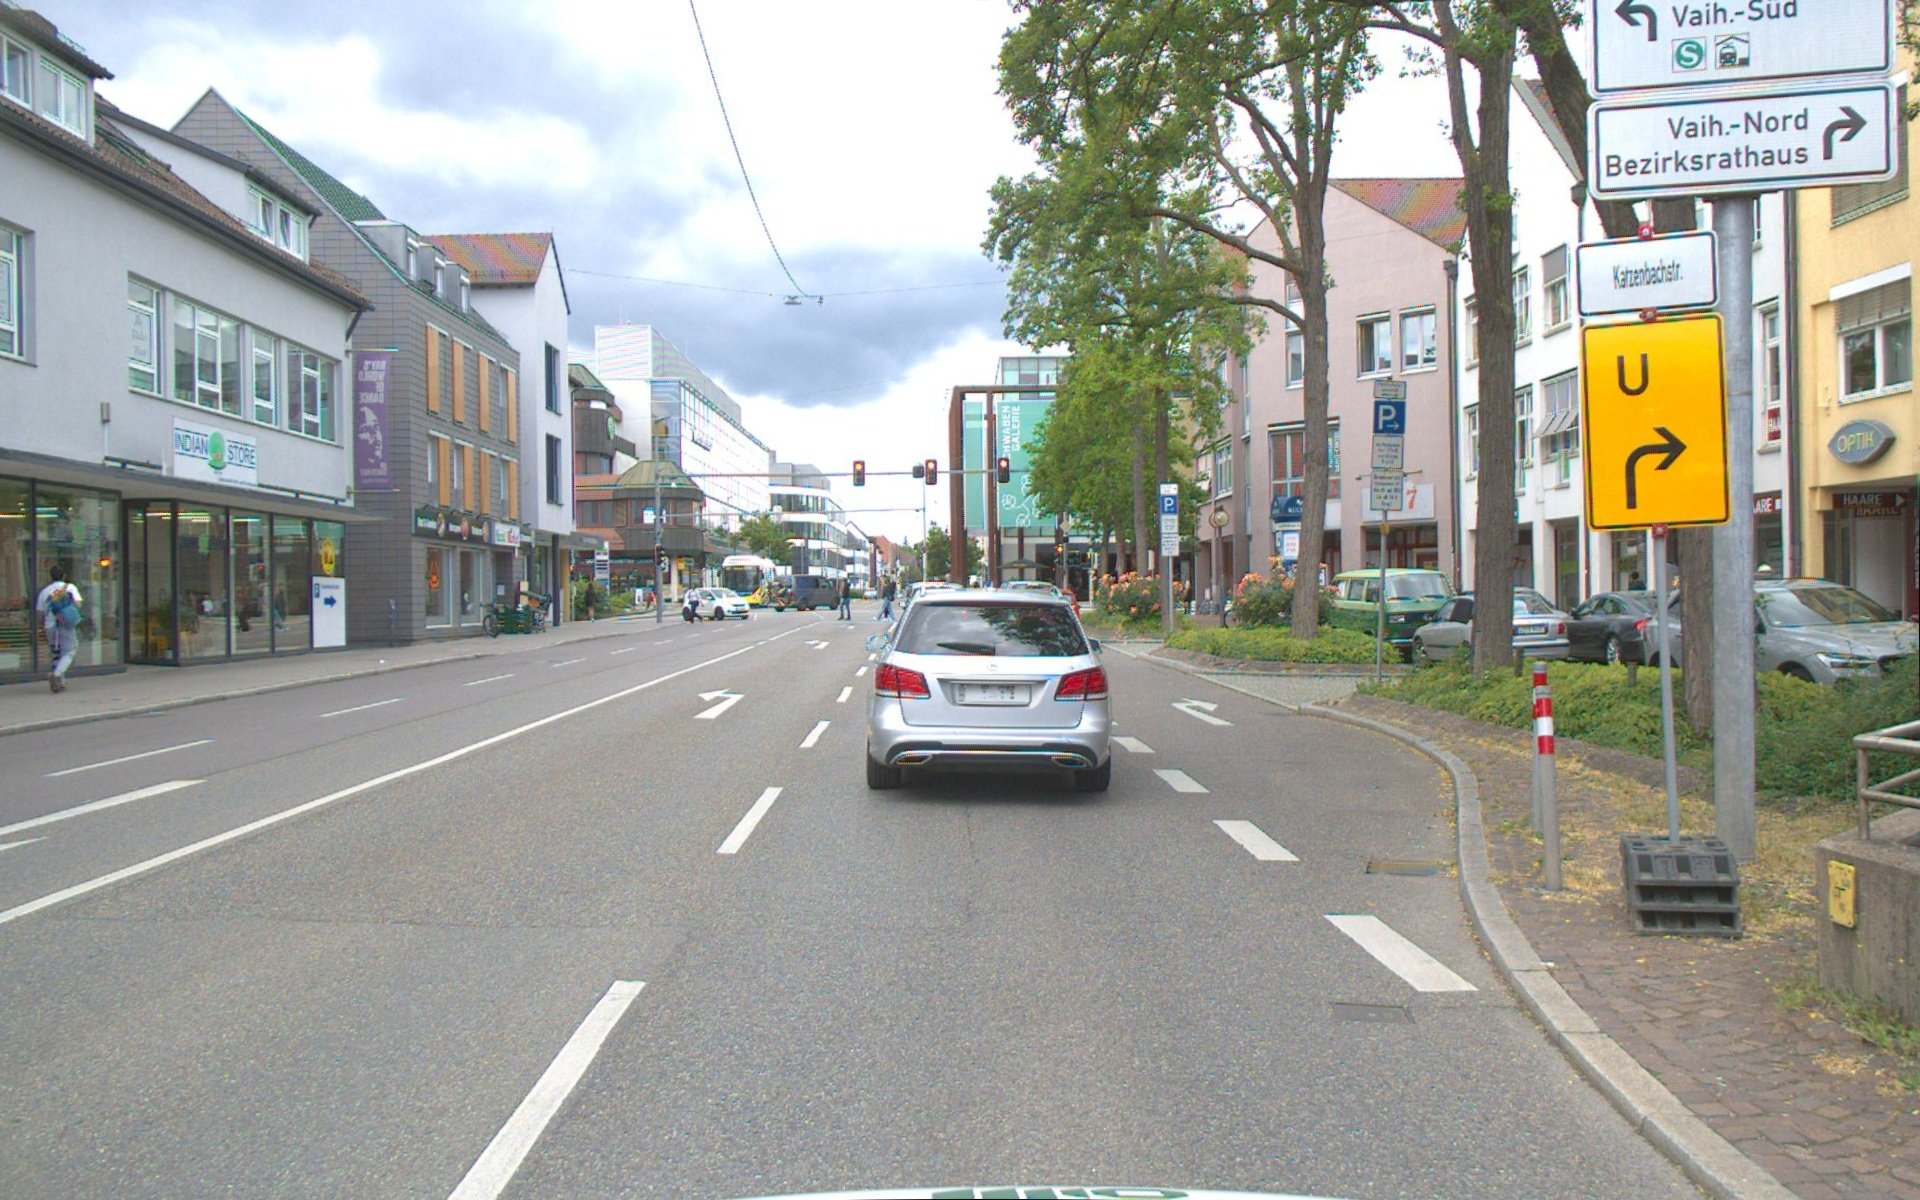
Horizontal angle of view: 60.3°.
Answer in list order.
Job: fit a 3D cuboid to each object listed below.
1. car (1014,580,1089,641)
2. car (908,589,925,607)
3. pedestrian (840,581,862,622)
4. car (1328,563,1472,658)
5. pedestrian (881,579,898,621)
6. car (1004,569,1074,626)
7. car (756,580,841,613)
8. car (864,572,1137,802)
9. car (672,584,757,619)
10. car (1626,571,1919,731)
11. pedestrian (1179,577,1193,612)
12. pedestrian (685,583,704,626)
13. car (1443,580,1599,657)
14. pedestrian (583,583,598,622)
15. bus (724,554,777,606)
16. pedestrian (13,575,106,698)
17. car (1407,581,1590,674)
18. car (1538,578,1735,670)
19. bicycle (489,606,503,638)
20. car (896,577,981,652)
[{"bbox_3d":[2.423,0.270,44.631,1.719,1.547,3.999,-1,0,-1],"label":"car"},{"bbox_3d":[-5.073,-0.201,192.216,1.953,2.049,3.999,-1,1,-2],"label":"car"},{"bbox_3d":[-4.497,0.051,68.226,0.817,1.663,0.587,2,0,-5],"label":"pedestrian"},{"bbox_3d":[9.424,0.201,35.730,1.829,1.897,3.997,-1,0,-4],"label":"car"},{"bbox_3d":[-2.869,-0.006,67.139,0.601,1.663,0.587,2,0,-5],"label":"pedestrian"},{"bbox_3d":[2.447,-0.088,52.063,1.953,1.713,3.999,-1,0,-1],"label":"car"},{"bbox_3d":[-9.250,-0.220,95.225,1.963,1.855,4.899,-1,1,40],"label":"car"},{"bbox_3d":[0.172,0.574,13.125,1.837,1.532,3.998,0,0,-3],"label":"car"},{"bbox_3d":[-11.246,0.082,75.623,3.927,1.557,1.657,0,1,41],"label":"car"},{"bbox_3d":[9.929,0.509,19.741,1.843,1.667,4.495,-1,0,-5],"label":"car"},{"bbox_3d":[10.716,-0.257,78.380,0.600,1.663,0.588,2,0,12],"label":"pedestrian"},{"bbox_3d":[-10.517,0.170,65.606,0.604,1.663,0.585,2,0,-19],"label":"pedestrian"},{"bbox_3d":[12.051,0.362,35.797,1.829,1.554,3.997,-1,0,-4],"label":"car"},{"bbox_3d":[-16.503,0.107,73.814,0.576,1.699,0.639,2,1,-14],"label":"pedestrian"},{"bbox_3d":[-13.575,-1.278,107.367,2.719,3.220,5.932,-1,0,-1],"label":"bus"},{"bbox_3d":[-12.518,0.492,23.025,0.801,1.663,0.979,1,0,-7],"label":"pedestrian"},{"bbox_3d":[9.766,0.456,30.319,1.829,1.554,3.997,-1,0,-4],"label":"car"},{"bbox_3d":[12.415,0.396,30.637,1.829,1.554,3.997,-1,0,-4],"label":"car"},{"bbox_3d":[-13.570,0.623,48.353,0.268,0.906,1.225,-1,0,-10],"label":"bicycle"},{"bbox_3d":[-0.526,0.316,40.311,1.953,1.713,3.999,-1,0,-1],"label":"car"}]
